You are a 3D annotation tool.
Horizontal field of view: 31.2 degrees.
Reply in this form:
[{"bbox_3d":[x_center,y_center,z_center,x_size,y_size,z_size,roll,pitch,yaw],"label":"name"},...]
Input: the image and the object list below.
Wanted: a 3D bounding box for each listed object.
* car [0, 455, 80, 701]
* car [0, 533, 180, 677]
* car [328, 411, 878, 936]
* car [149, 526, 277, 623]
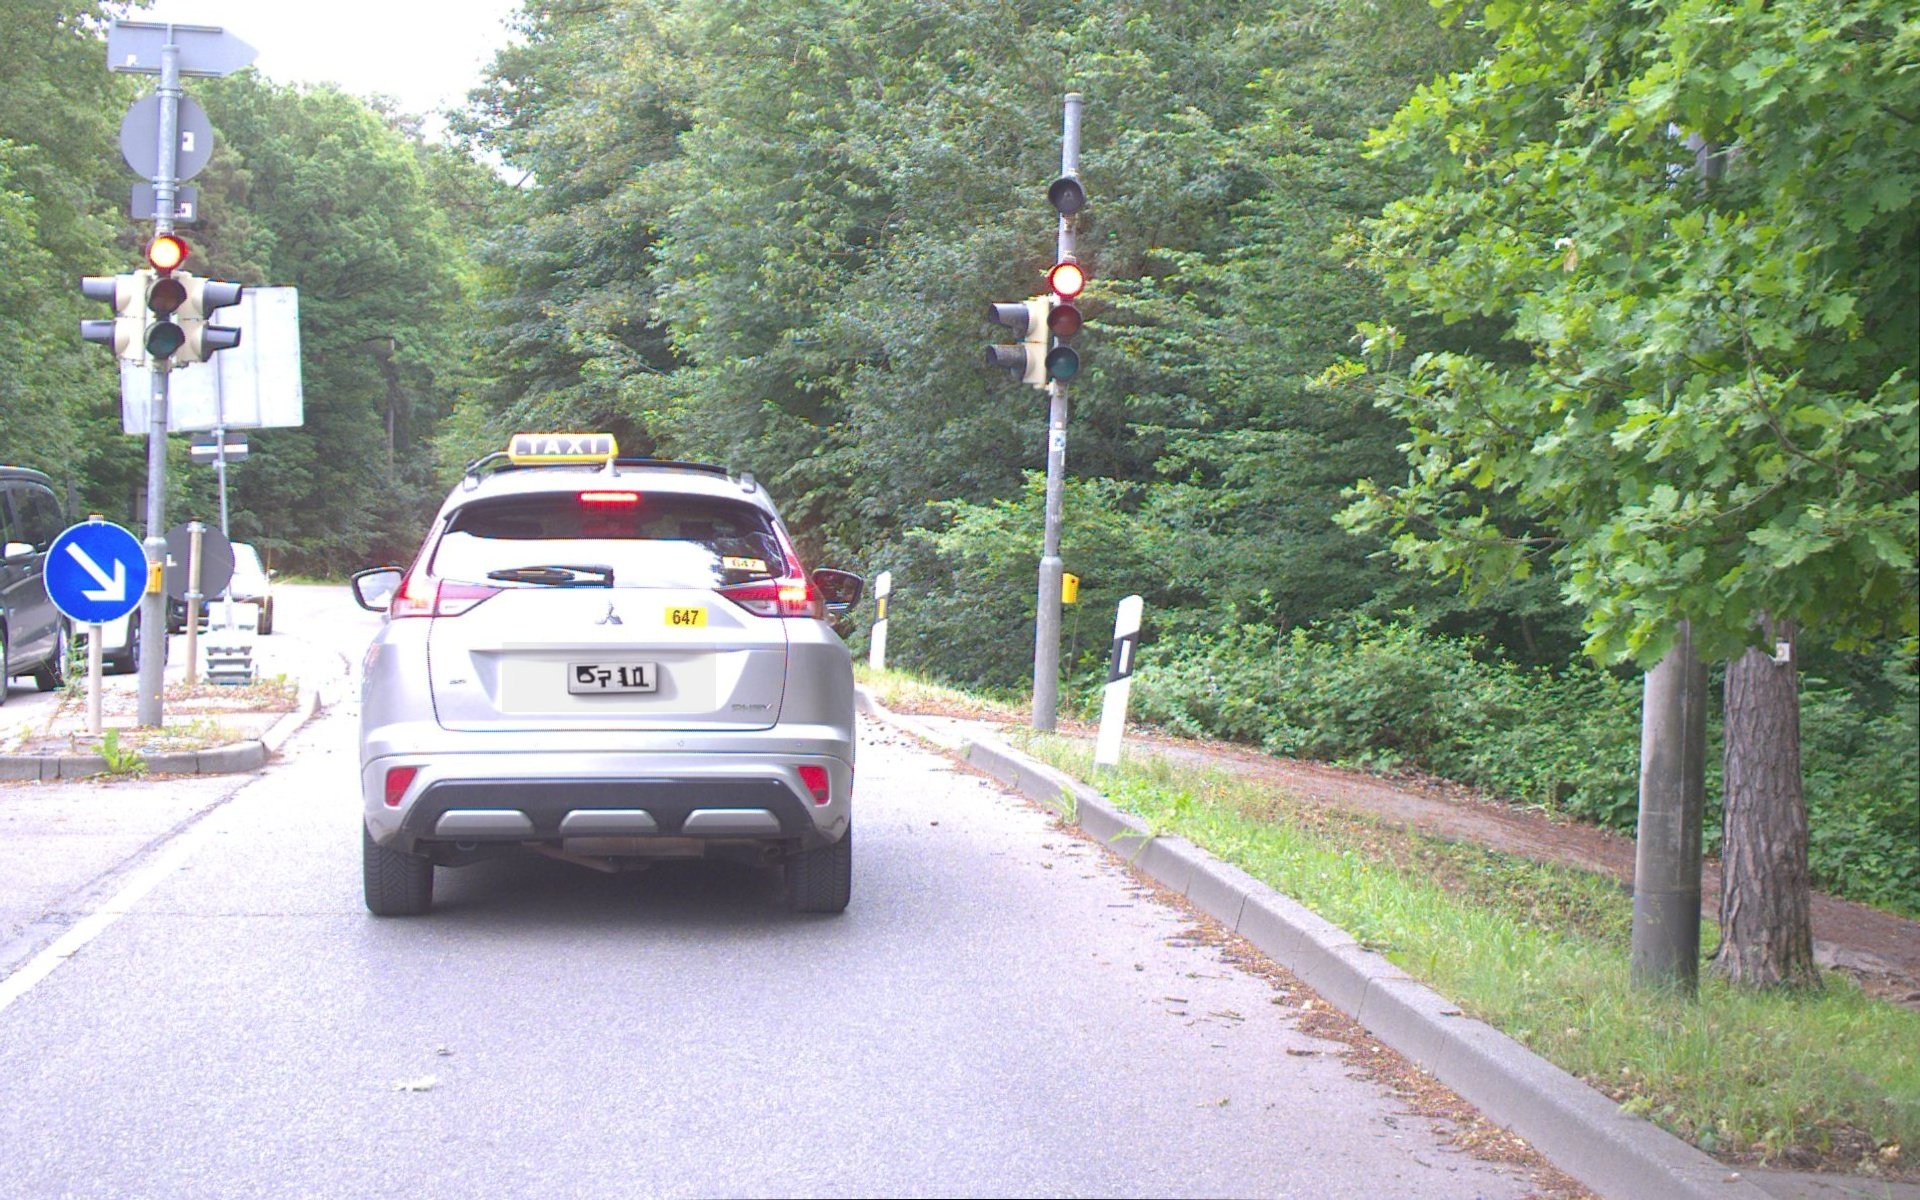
[{"bbox_3d":[-8.542,-0.183,27.962,1.993,1.887,4.840,-1,1,-6],"label":"car"},{"bbox_3d":[-9.110,0.018,35.267,1.612,1.316,3.722,-2,2,-5],"label":"car"},{"bbox_3d":[-1.450,0.218,13.768,1.846,1.774,4.001,1,1,-7],"label":"car"},{"bbox_3d":[-12.364,-0.433,57.044,1.811,1.503,3.722,-2,1,-9],"label":"car"}]
